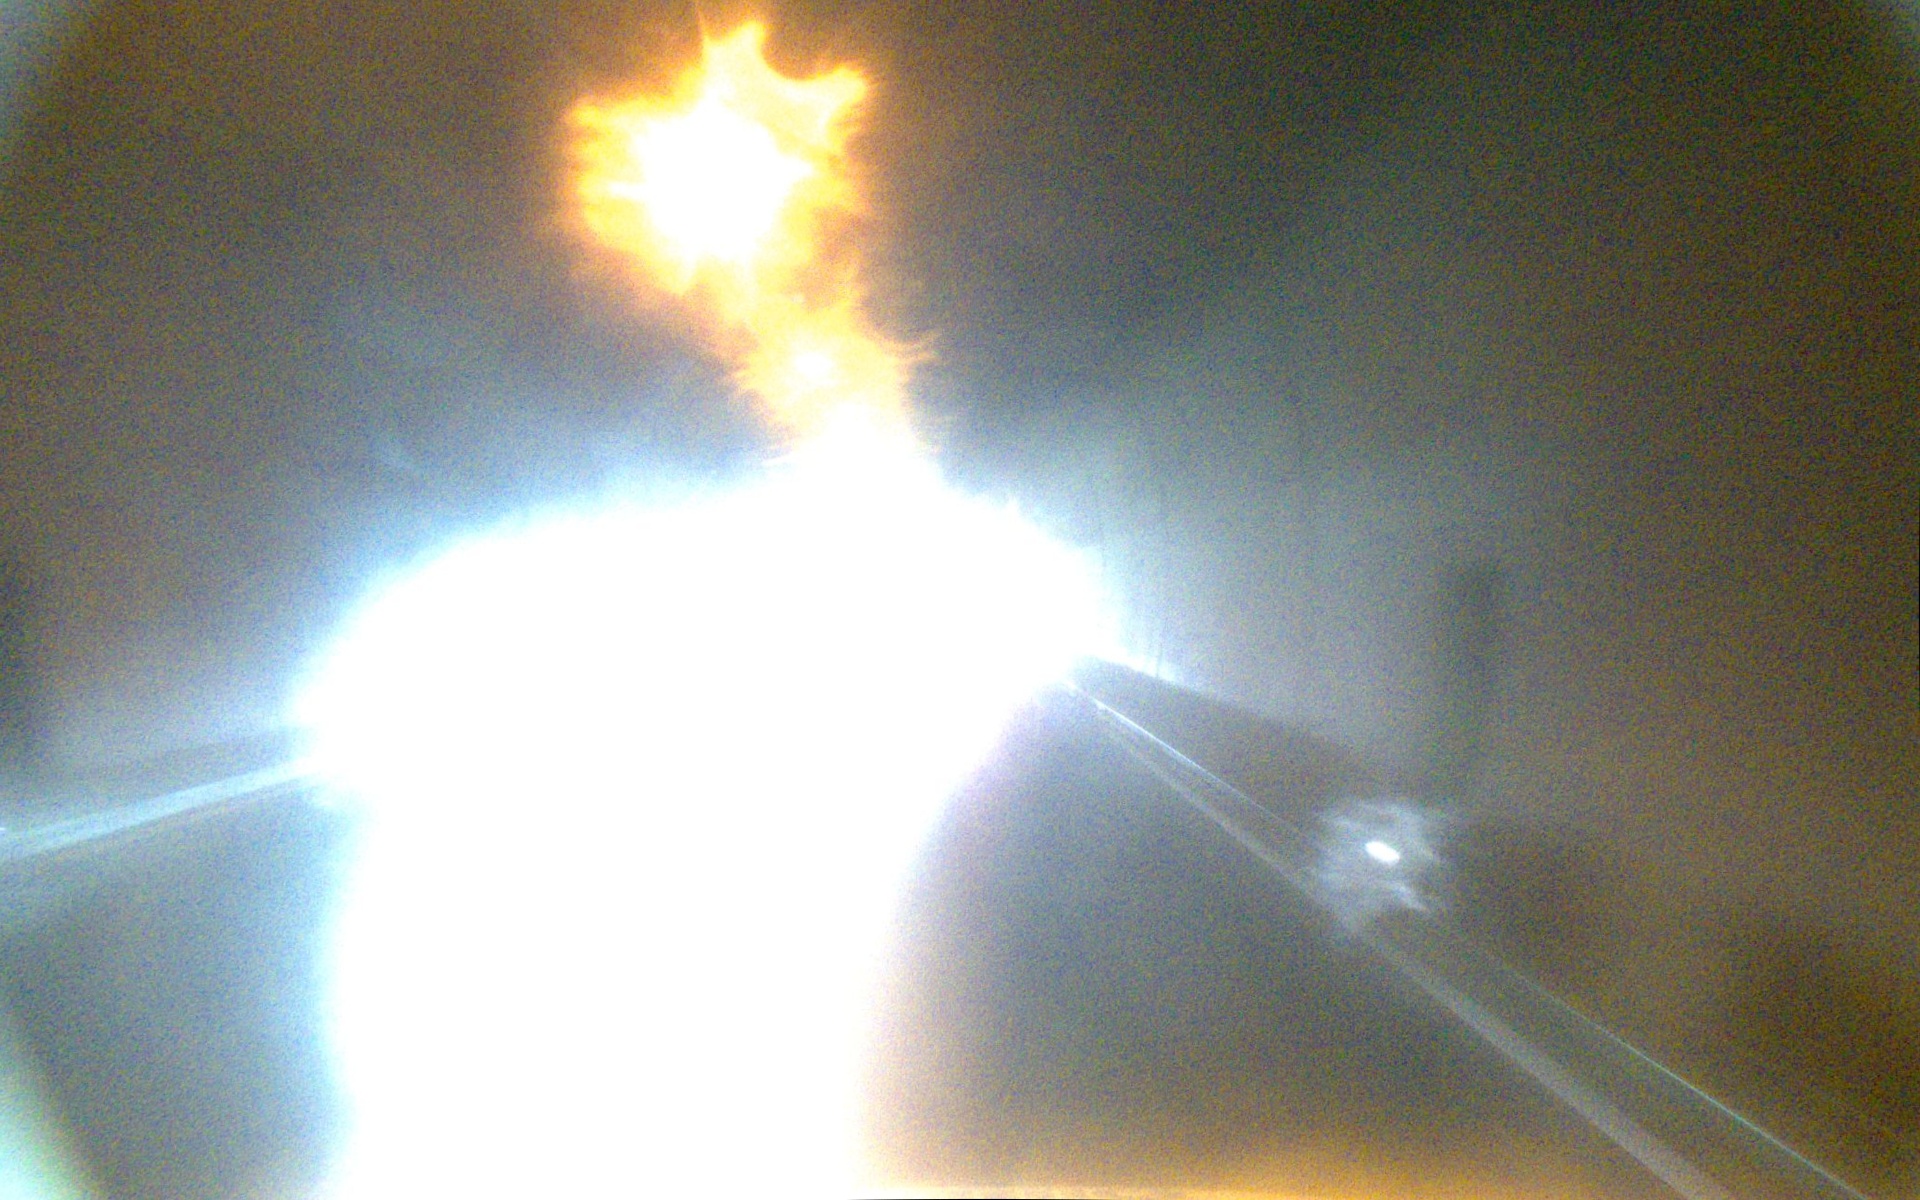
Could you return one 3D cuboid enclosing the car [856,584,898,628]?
[{"bbox_3d":[-3.858,0.287,77.268,1.745,1.962,5.137,1,0,-1],"label":"car"}]

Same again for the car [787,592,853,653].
[{"bbox_3d":[-4.025,0.633,48.130,1.602,1.656,4.145,1,0,-1],"label":"car"}]

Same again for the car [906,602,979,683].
[{"bbox_3d":[-0.416,0.965,39.219,1.602,1.788,4.145,1,0,-1],"label":"car"}]

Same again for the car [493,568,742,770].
[{"bbox_3d":[-3.056,0.575,15.425,1.590,1.641,3.584,1,0,-1],"label":"car"}]
